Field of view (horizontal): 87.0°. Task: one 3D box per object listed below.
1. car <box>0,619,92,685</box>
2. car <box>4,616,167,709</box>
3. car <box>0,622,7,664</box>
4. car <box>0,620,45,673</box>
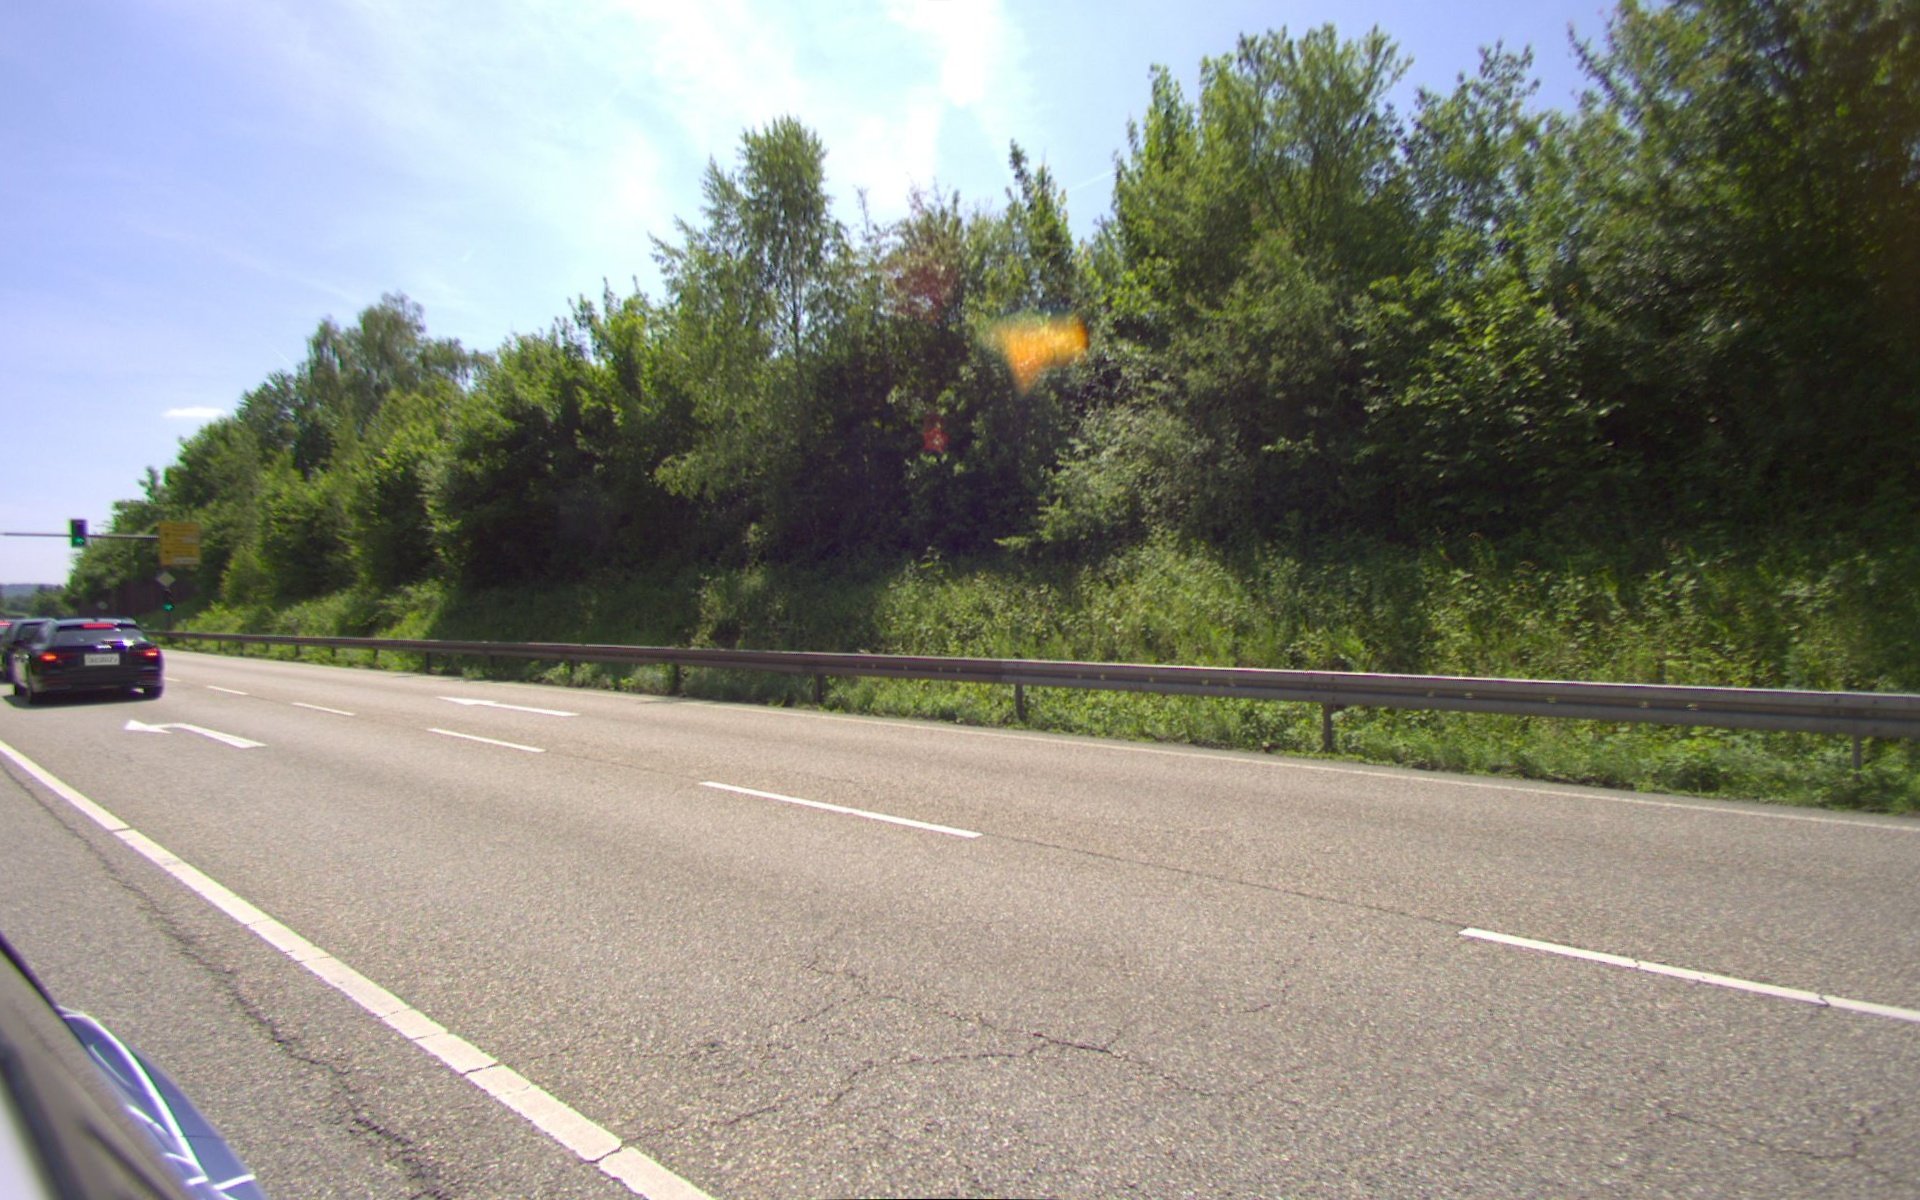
[{"bbox_3d":[-22.226,1.213,24.359,4.183,1.425,1.663,-2,-1,44],"label":"car"},{"bbox_3d":[-16.135,1.060,18.588,4.386,1.464,1.785,-1,0,43],"label":"car"},{"bbox_3d":[-35.595,1.576,36.510,3.770,1.451,1.549,-2,-1,43],"label":"car"},{"bbox_3d":[-28.793,1.381,30.145,4.638,1.458,1.763,-2,-1,41],"label":"car"}]
